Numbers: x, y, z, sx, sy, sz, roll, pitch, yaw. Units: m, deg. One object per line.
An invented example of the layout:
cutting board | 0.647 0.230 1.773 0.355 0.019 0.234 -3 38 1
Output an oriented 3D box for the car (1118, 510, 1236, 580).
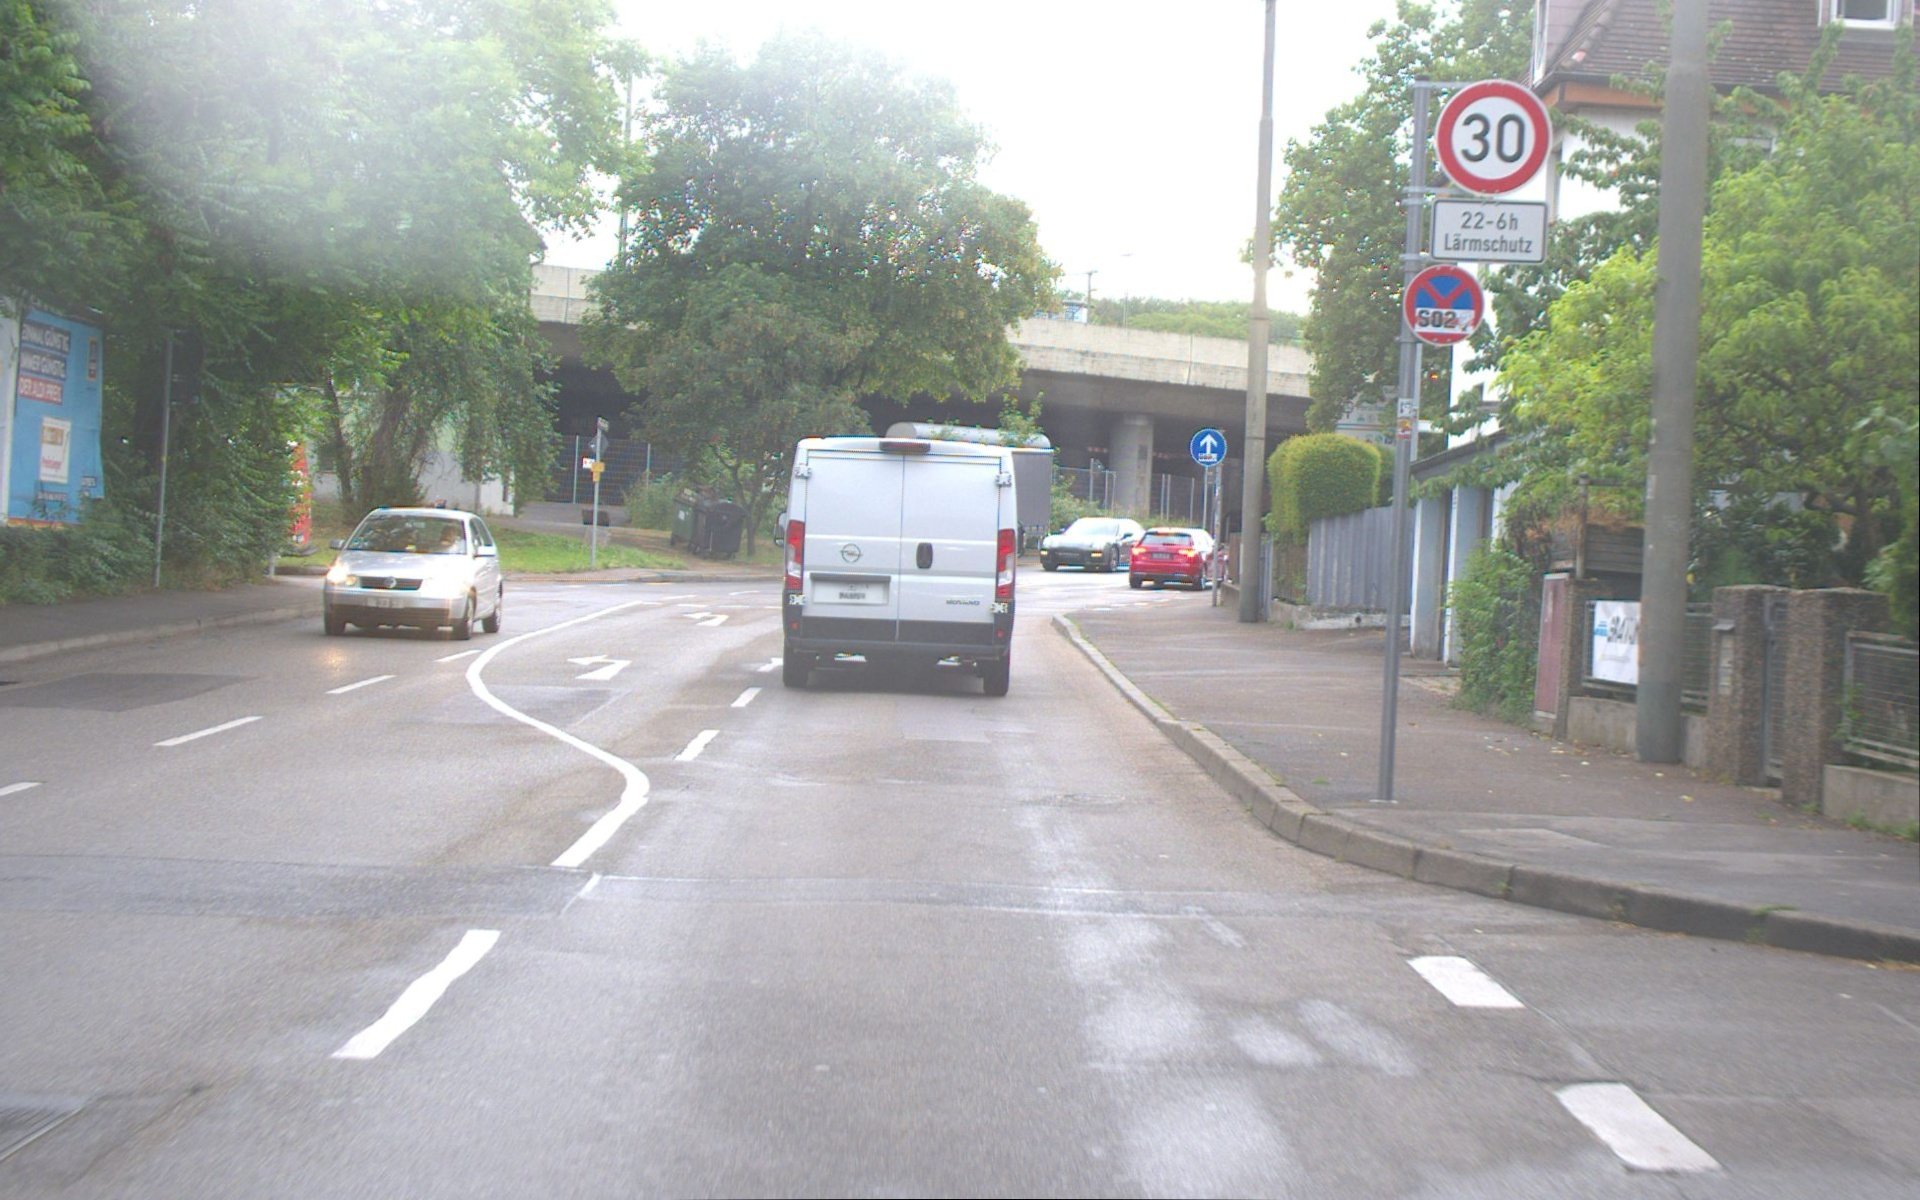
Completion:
car | 5.118 -1.277 80.833 1.767 1.505 3.751 4 2 19

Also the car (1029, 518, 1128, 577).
car | 3.230 -1.395 92.624 1.994 1.451 4.827 3 0 10

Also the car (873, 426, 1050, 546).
car | 0.111 -3.082 94.847 2.536 3.007 7.204 4 2 19

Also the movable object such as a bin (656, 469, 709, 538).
movable object such as a bin | -6.814 -2.367 84.468 0.940 1.558 1.130 9 2 4

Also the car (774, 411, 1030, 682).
car | -0.630 -0.516 32.014 2.146 2.275 5.064 1 1 -3

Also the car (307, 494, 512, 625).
car | -6.287 -0.500 39.619 1.654 1.412 3.936 1 2 1

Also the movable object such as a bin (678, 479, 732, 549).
movable object such as a bin | -6.161 -2.075 83.073 0.940 1.558 1.130 9 2 4
